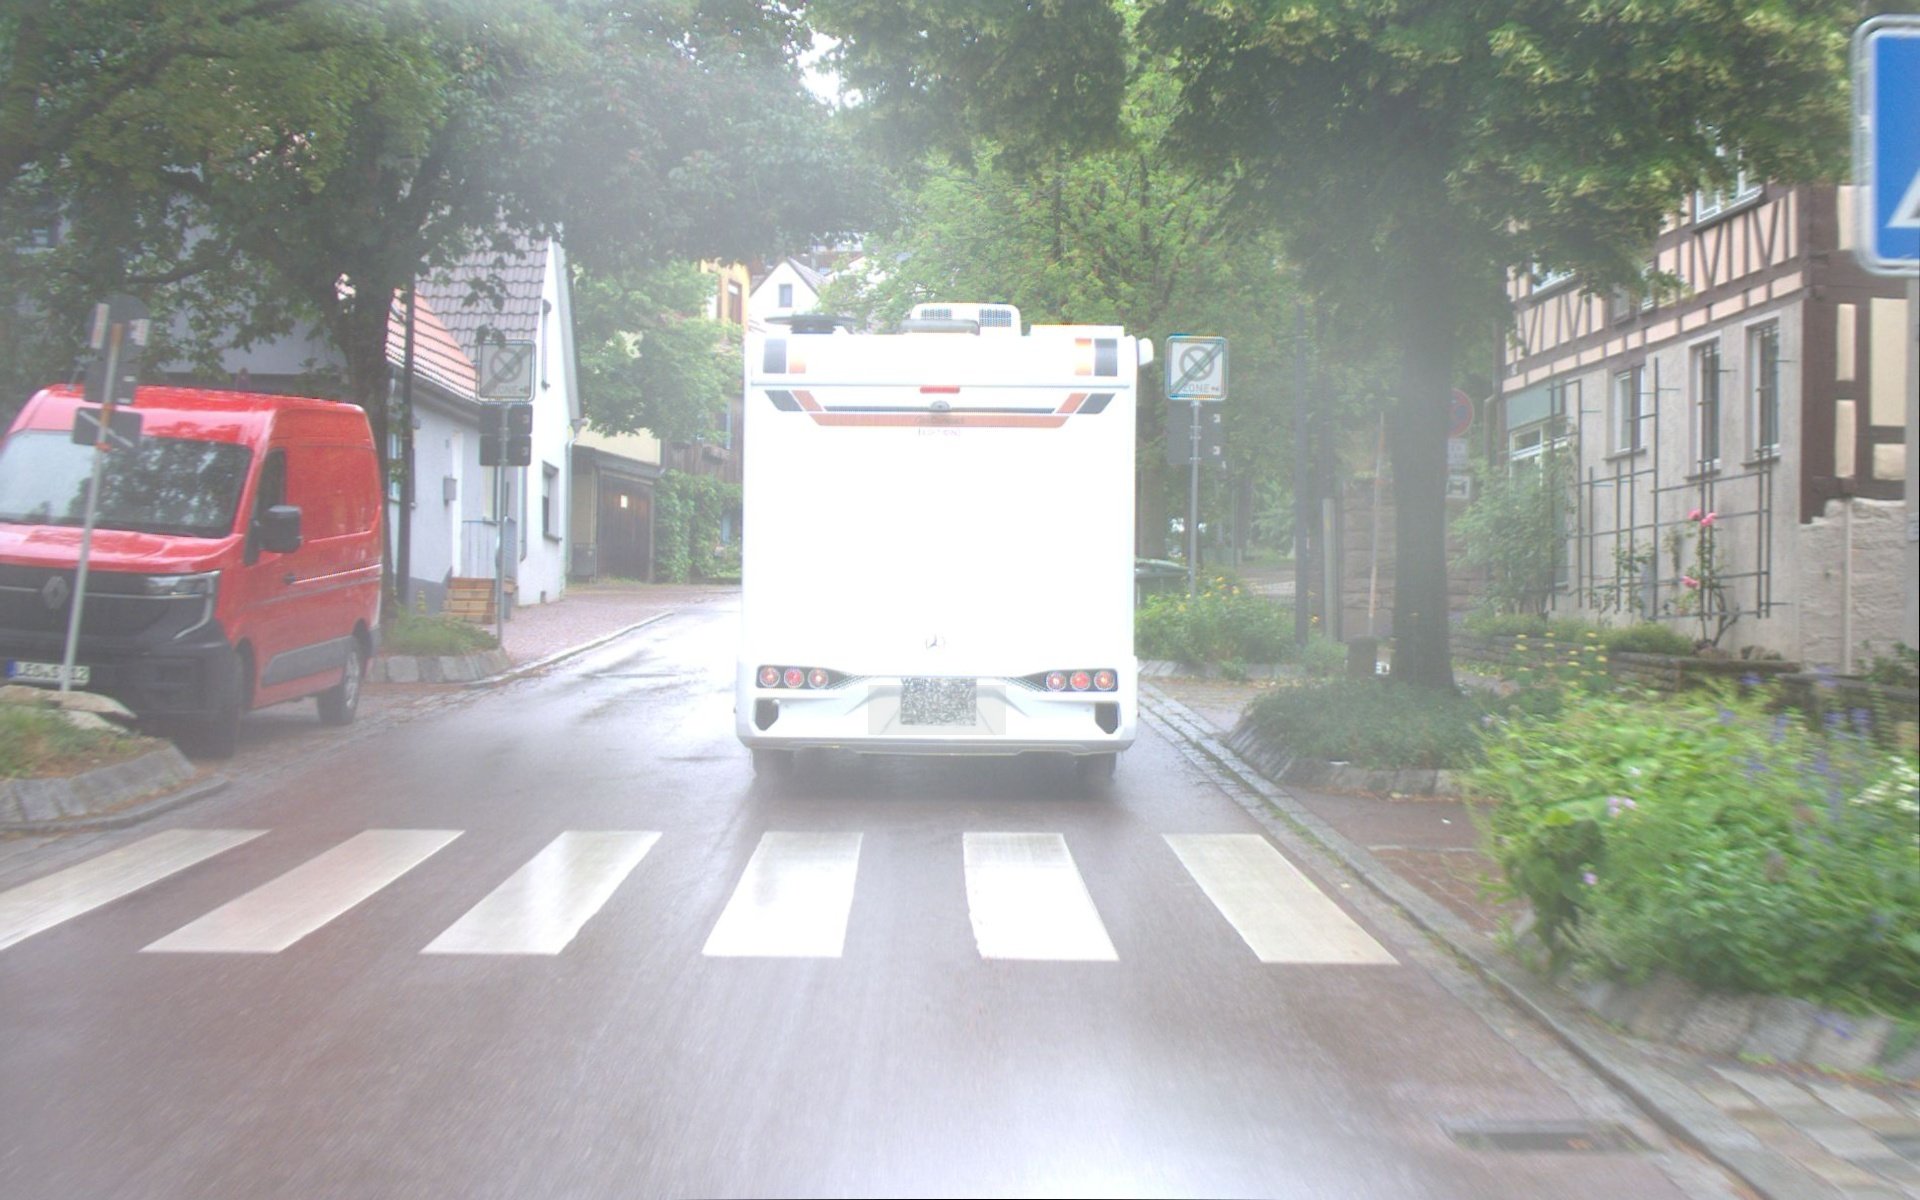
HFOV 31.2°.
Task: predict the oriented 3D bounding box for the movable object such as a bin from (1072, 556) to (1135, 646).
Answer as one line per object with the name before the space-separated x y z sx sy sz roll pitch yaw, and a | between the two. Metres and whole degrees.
movable object such as a bin | 1.866 0.011 44.719 0.723 1.139 0.703 1 1 -3

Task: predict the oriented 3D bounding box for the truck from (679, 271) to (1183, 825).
truck | -0.195 -0.312 21.949 2.694 2.975 6.237 1 0 -1

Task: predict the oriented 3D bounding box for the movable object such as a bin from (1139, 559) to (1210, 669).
movable object such as a bin | 2.408 0.151 38.634 0.721 1.208 0.727 1 1 0

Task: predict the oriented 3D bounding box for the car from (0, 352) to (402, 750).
car | -5.710 -0.406 24.517 2.303 2.474 5.785 1 2 2
